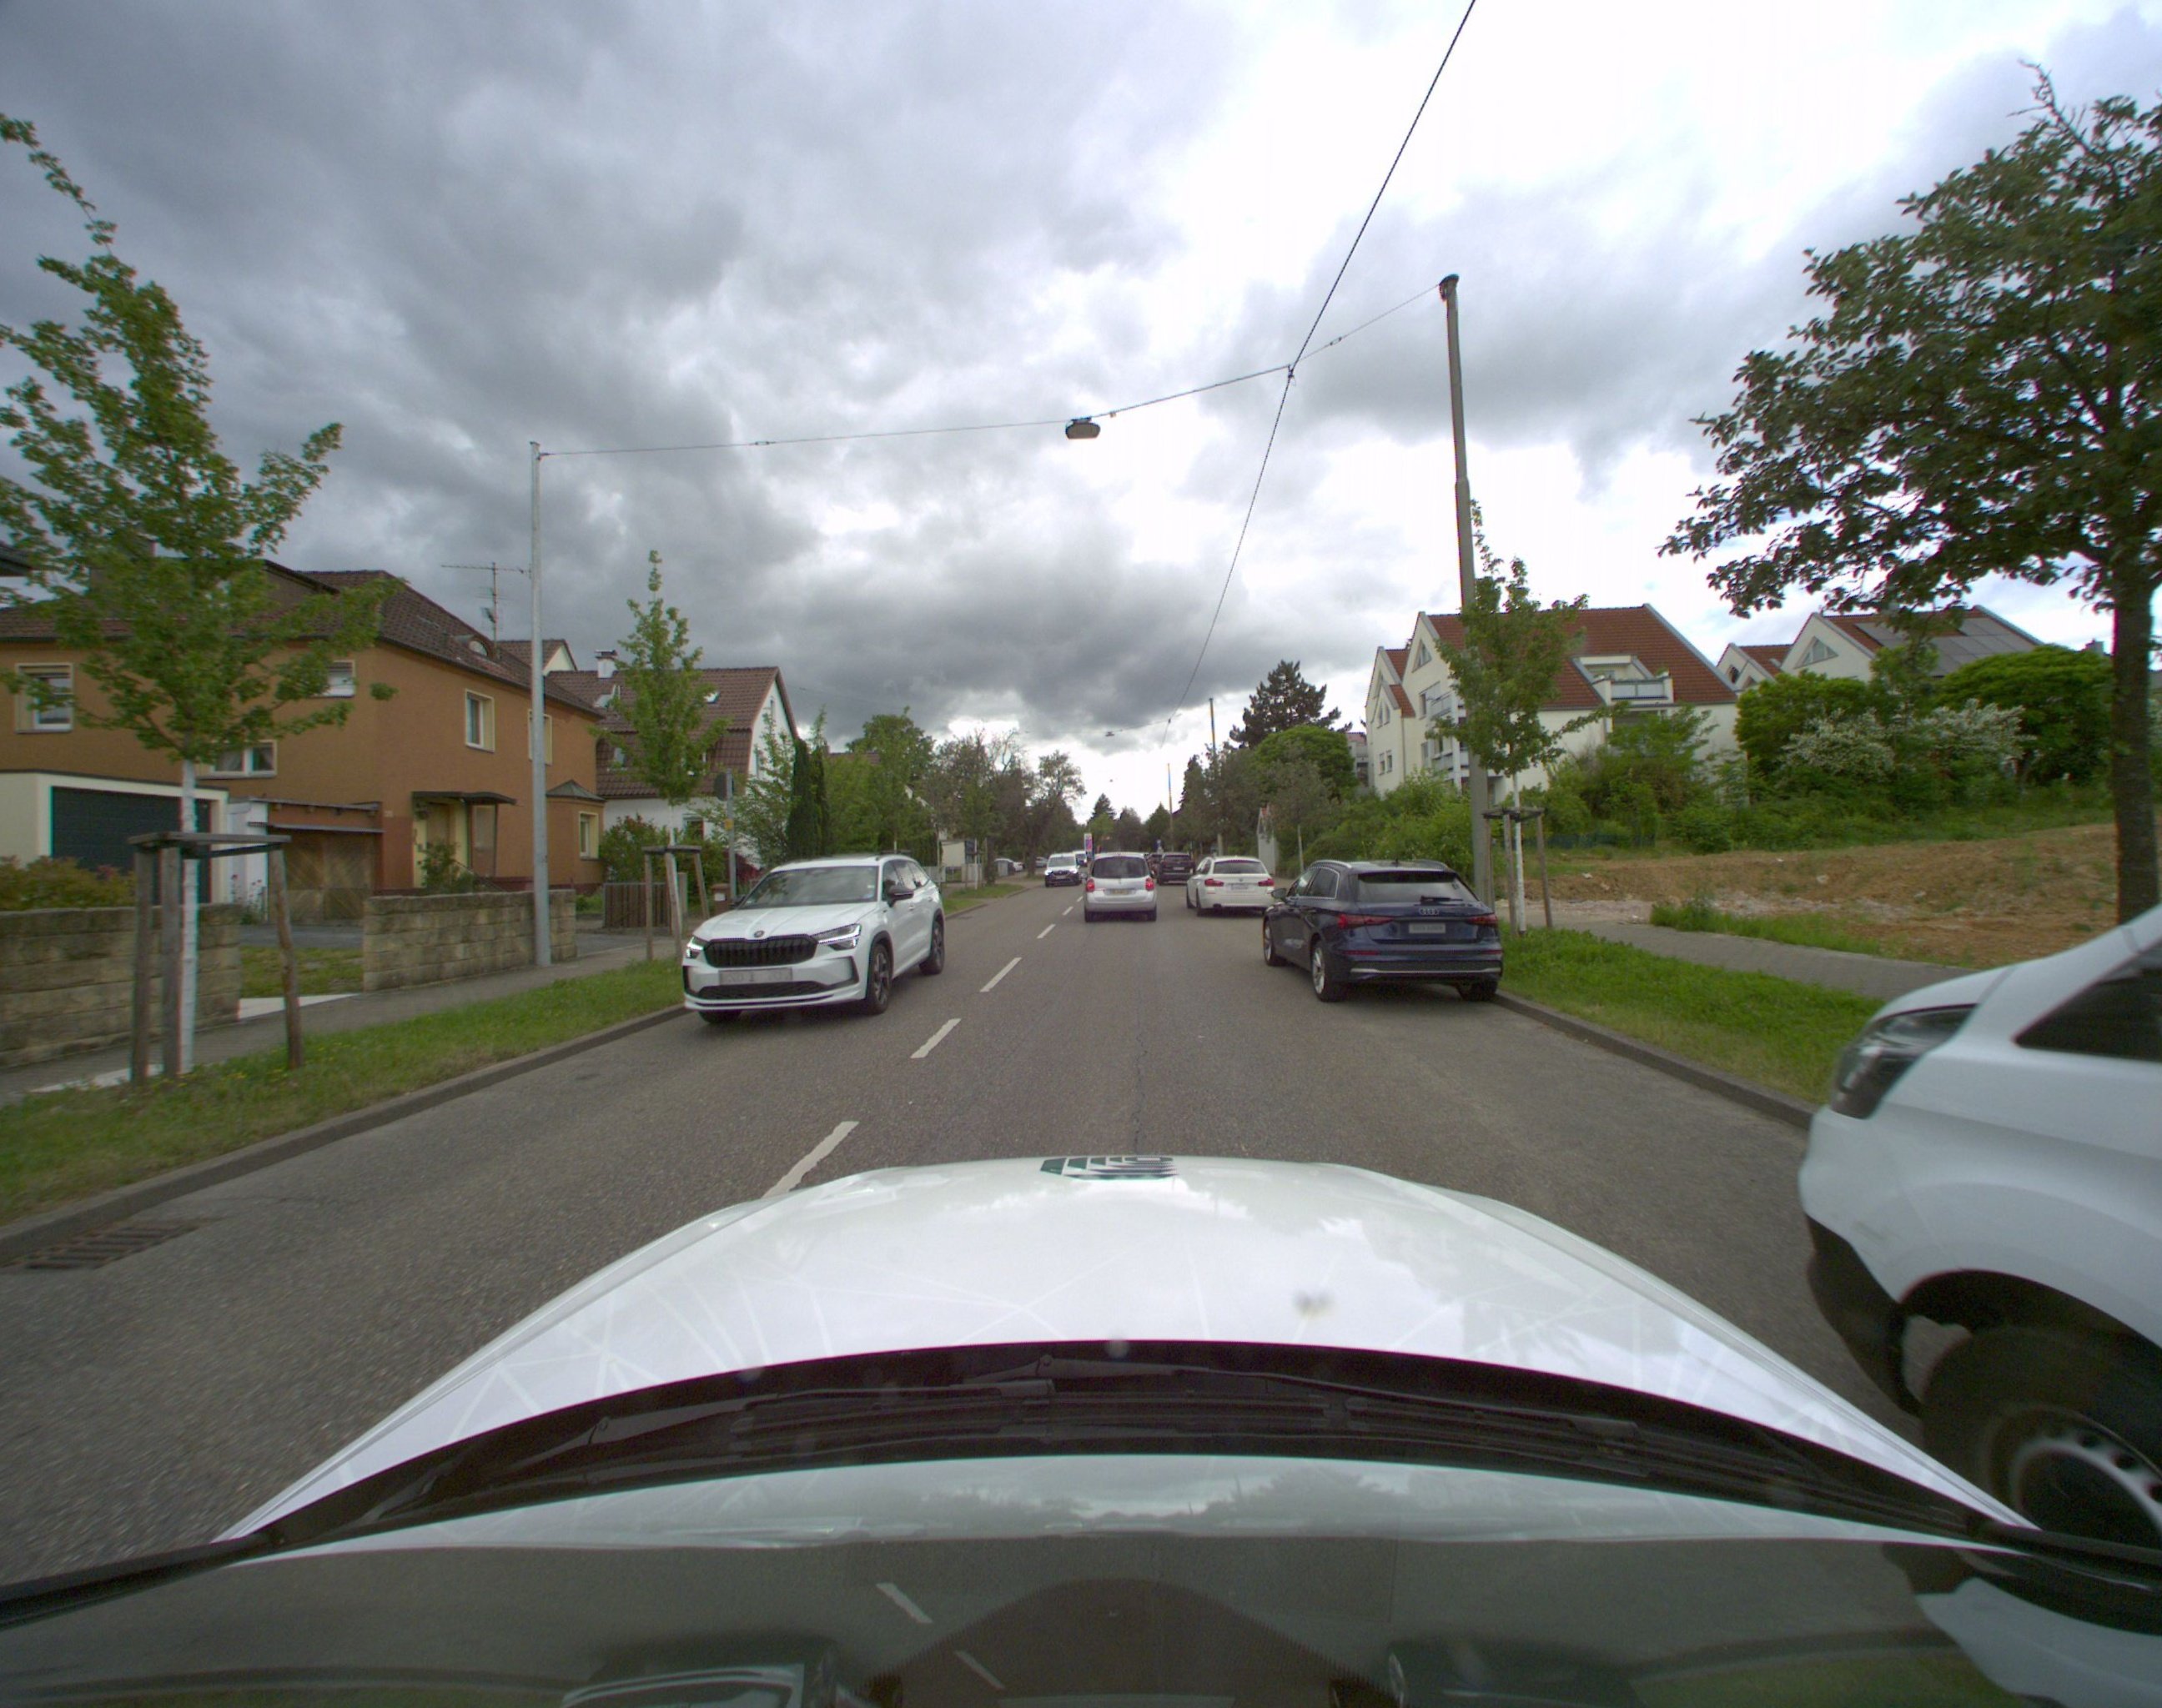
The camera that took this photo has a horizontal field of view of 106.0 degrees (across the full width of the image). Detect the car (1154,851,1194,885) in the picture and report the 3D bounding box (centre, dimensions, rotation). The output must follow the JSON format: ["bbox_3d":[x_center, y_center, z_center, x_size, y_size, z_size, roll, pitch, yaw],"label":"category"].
[{"bbox_3d":[4.633,0.678,41.050,1.681,1.609,4.112,-1,0,2],"label":"car"}]

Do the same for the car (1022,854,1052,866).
[{"bbox_3d":[-6.165,0.803,114.491,4.069,1.706,1.749,0,0,3],"label":"car"}]

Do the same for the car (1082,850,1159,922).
[{"bbox_3d":[0.955,0.713,19.710,1.672,1.560,3.514,-1,0,3],"label":"car"}]

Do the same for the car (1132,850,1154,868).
[{"bbox_3d":[6.281,0.509,82.833,1.794,1.778,4.702,0,0,-2],"label":"car"}]

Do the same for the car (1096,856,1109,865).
[{"bbox_3d":[3.786,1.157,145.042,1.693,1.506,3.964,-2,0,-6],"label":"car"}]

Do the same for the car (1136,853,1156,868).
[{"bbox_3d":[6.202,0.635,78.133,1.554,1.443,3.504,-1,0,-2],"label":"car"}]

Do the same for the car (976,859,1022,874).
[{"bbox_3d":[-7.668,1.143,76.810,4.271,1.368,1.813,0,-1,-5],"label":"car"}]

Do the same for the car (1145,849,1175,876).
[{"bbox_3d":[5.729,0.598,59.382,1.823,1.711,4.552,-4,0,3],"label":"car"}]

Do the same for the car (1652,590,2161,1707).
[{"bbox_3d":[2.606,0.534,0.116,1.768,1.943,4.790,-1,0,1],"label":"car"}]

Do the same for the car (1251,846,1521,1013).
[{"bbox_3d":[3.255,0.696,9.632,1.659,1.516,4.221,-1,0,1],"label":"car"}]

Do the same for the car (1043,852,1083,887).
[{"bbox_3d":[-0.946,0.790,44.471,1.788,1.752,4.302,-3,0,3],"label":"car"}]

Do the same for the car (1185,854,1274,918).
[{"bbox_3d":[3.708,0.737,21.002,1.686,1.453,4.407,0,0,3],"label":"car"}]

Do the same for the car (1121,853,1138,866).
[{"bbox_3d":[5.890,0.671,98.277,1.623,1.452,3.871,-1,0,-3],"label":"car"}]

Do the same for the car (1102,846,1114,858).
[{"bbox_3d":[6.345,-0.479,190.386,2.276,2.911,5.272,0,0,-4],"label":"car"}]

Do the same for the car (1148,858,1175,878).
[{"bbox_3d":[5.149,0.861,52.569,1.475,1.236,3.886,0,0,2],"label":"car"}]

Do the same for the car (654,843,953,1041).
[{"bbox_3d":[-2.885,0.805,9.654,1.807,1.692,4.467,-3,0,2],"label":"car"}]

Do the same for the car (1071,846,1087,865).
[{"bbox_3d":[-0.233,0.268,118.464,2.066,2.582,5.301,-4,0,1],"label":"car"}]
